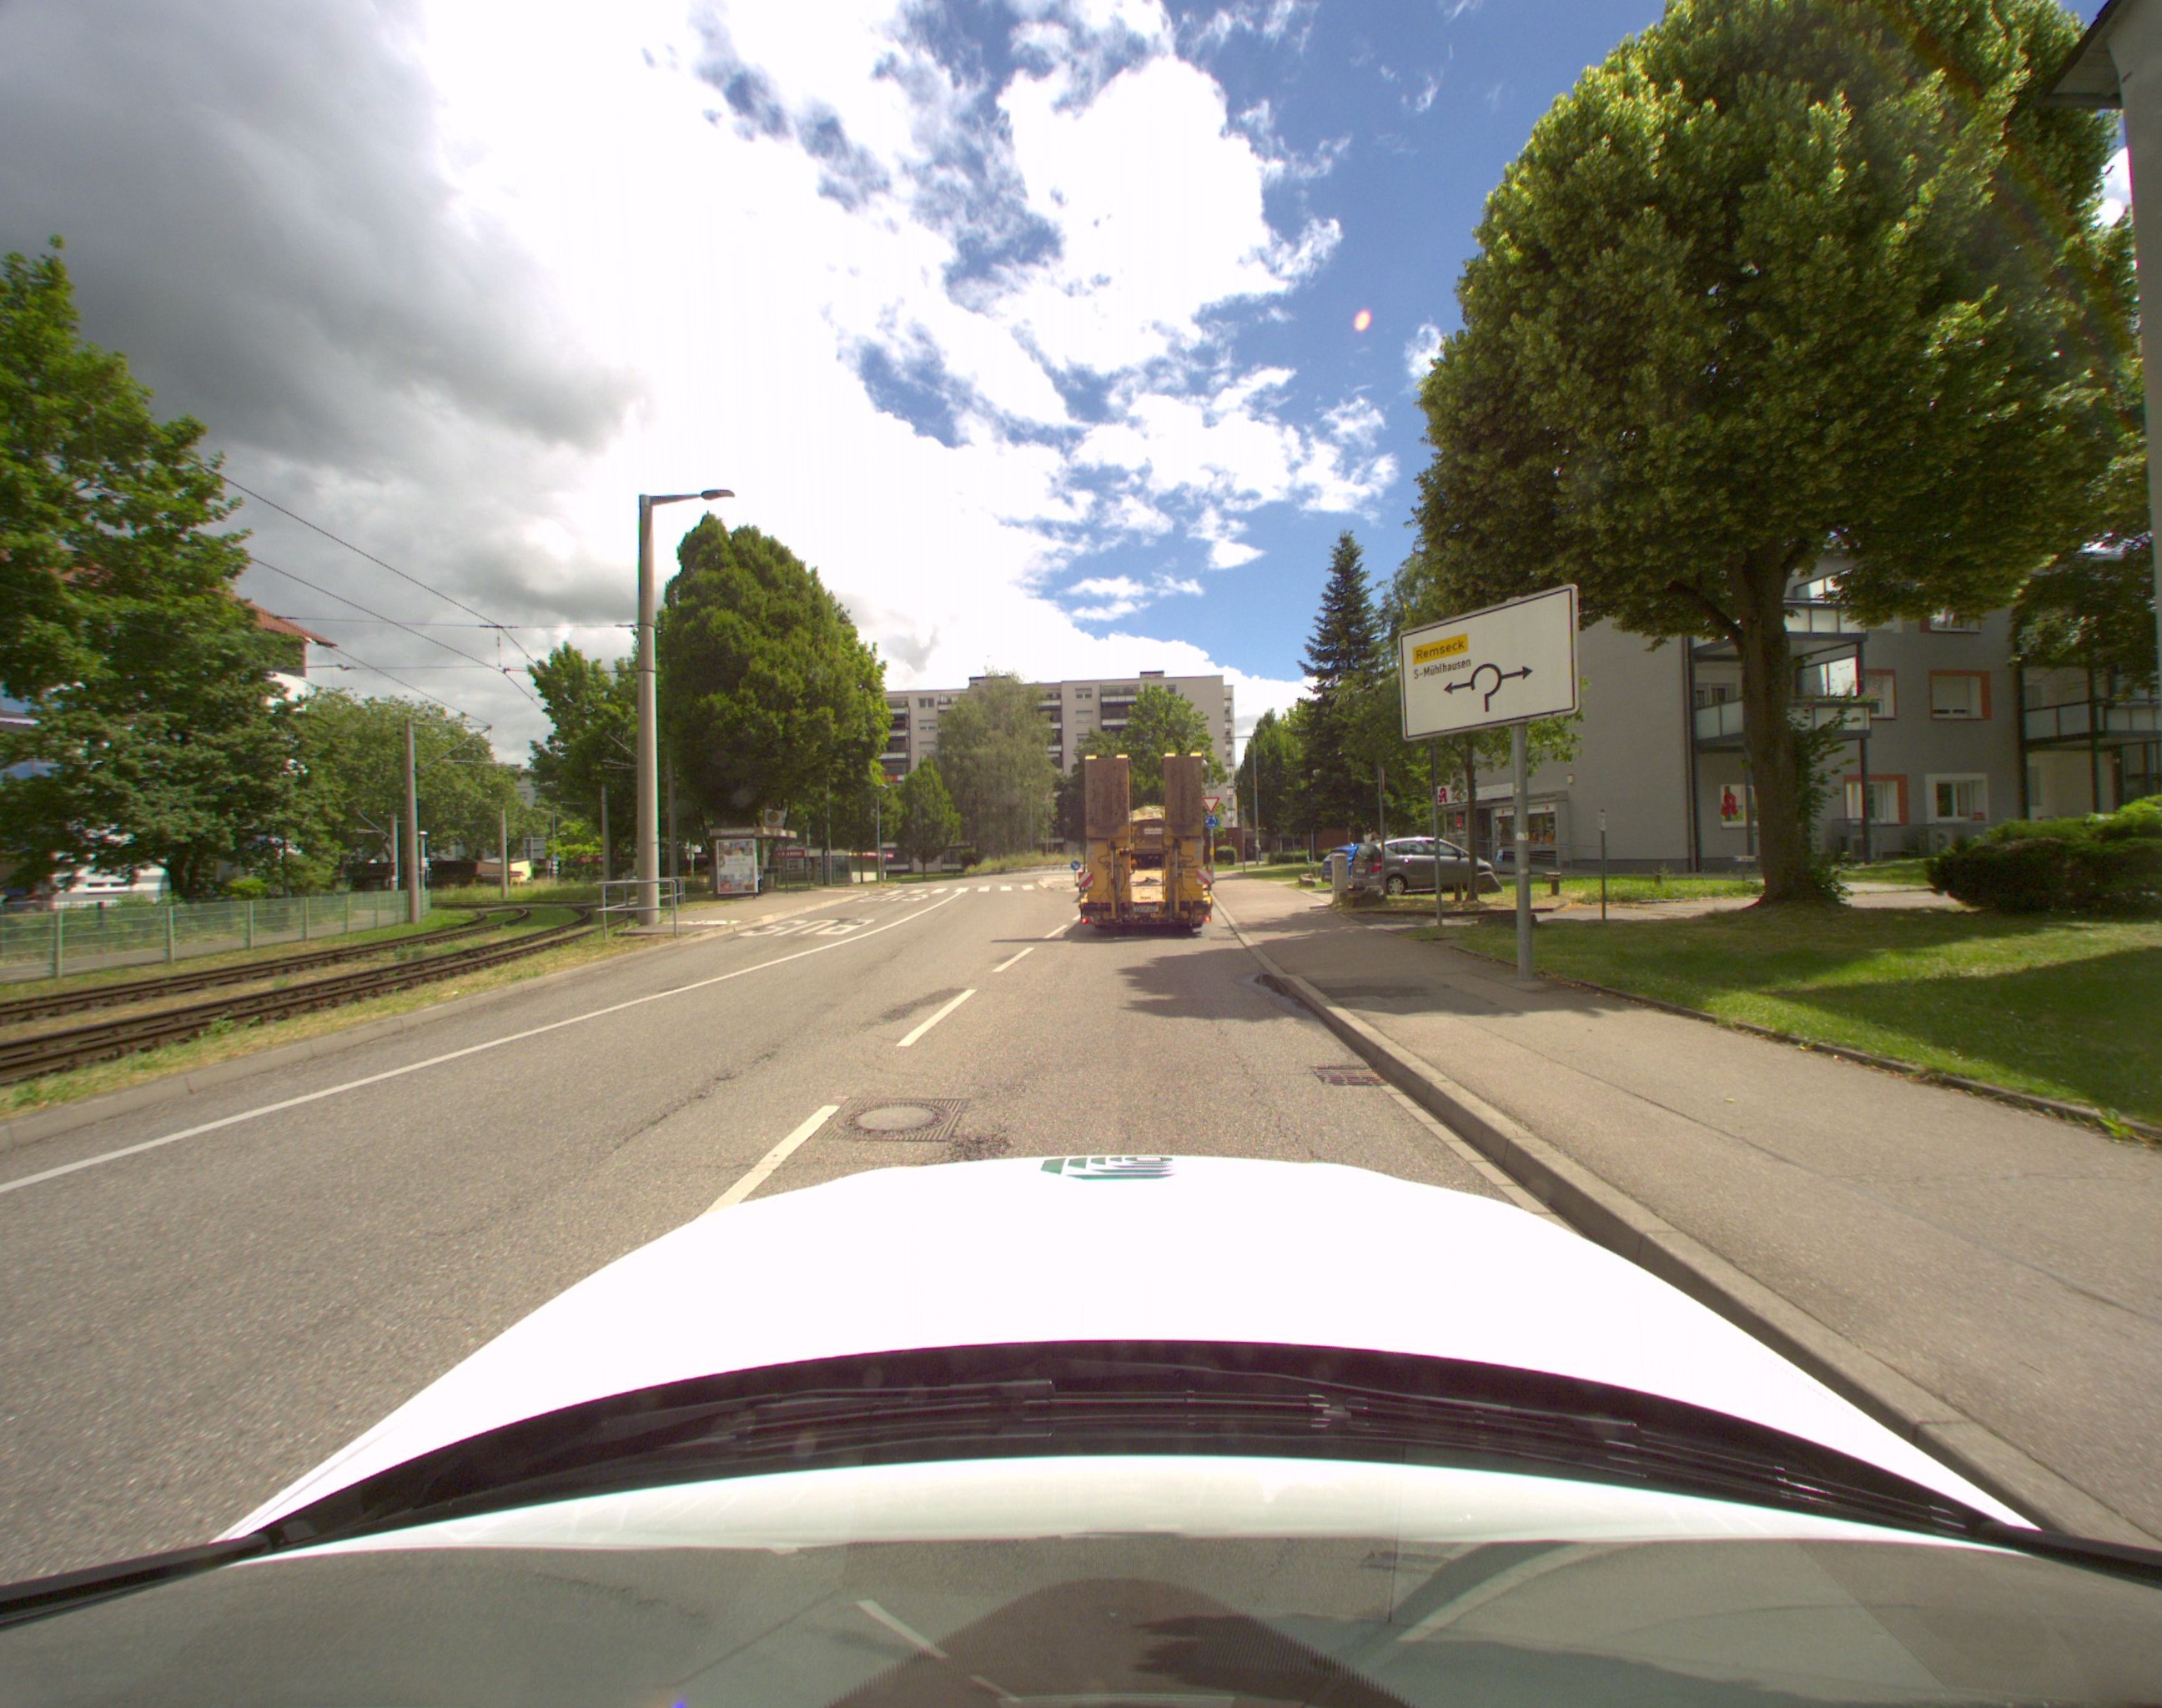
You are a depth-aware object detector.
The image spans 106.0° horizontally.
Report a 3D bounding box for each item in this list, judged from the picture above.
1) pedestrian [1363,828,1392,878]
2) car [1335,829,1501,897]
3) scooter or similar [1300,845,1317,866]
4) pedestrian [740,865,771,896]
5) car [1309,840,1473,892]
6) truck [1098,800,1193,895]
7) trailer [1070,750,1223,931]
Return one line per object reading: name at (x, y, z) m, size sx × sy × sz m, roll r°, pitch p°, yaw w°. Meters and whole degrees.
pedestrian at (12.287, -0.036, 33.762) m, size 0.653 × 2.013 × 1.044 m, roll -2°, pitch -1°, yaw -8°
car at (9.352, 0.230, 22.818) m, size 3.726 × 1.557 × 2.027 m, roll -4°, pitch 0°, yaw -7°
scooter or similar at (15.075, 0.099, 53.876) m, size 0.480 × 1.343 × 1.397 m, roll -3°, pitch 0°, yaw 41°
pedestrian at (-12.170, 0.985, 30.448) m, size 0.796 × 1.135 × 0.910 m, roll -1°, pitch -1°, yaw -3°
car at (9.897, 0.356, 26.164) m, size 4.482 × 1.243 × 1.994 m, roll -5°, pitch 0°, yaw -9°
truck at (2.156, -0.301, 30.392) m, size 2.977 × 3.034 × 8.488 m, roll 1°, pitch 1°, yaw 1°
trailer at (1.579, -0.301, 20.741) m, size 2.851 × 3.372 × 10.852 m, roll 0°, pitch 1°, yaw 4°
